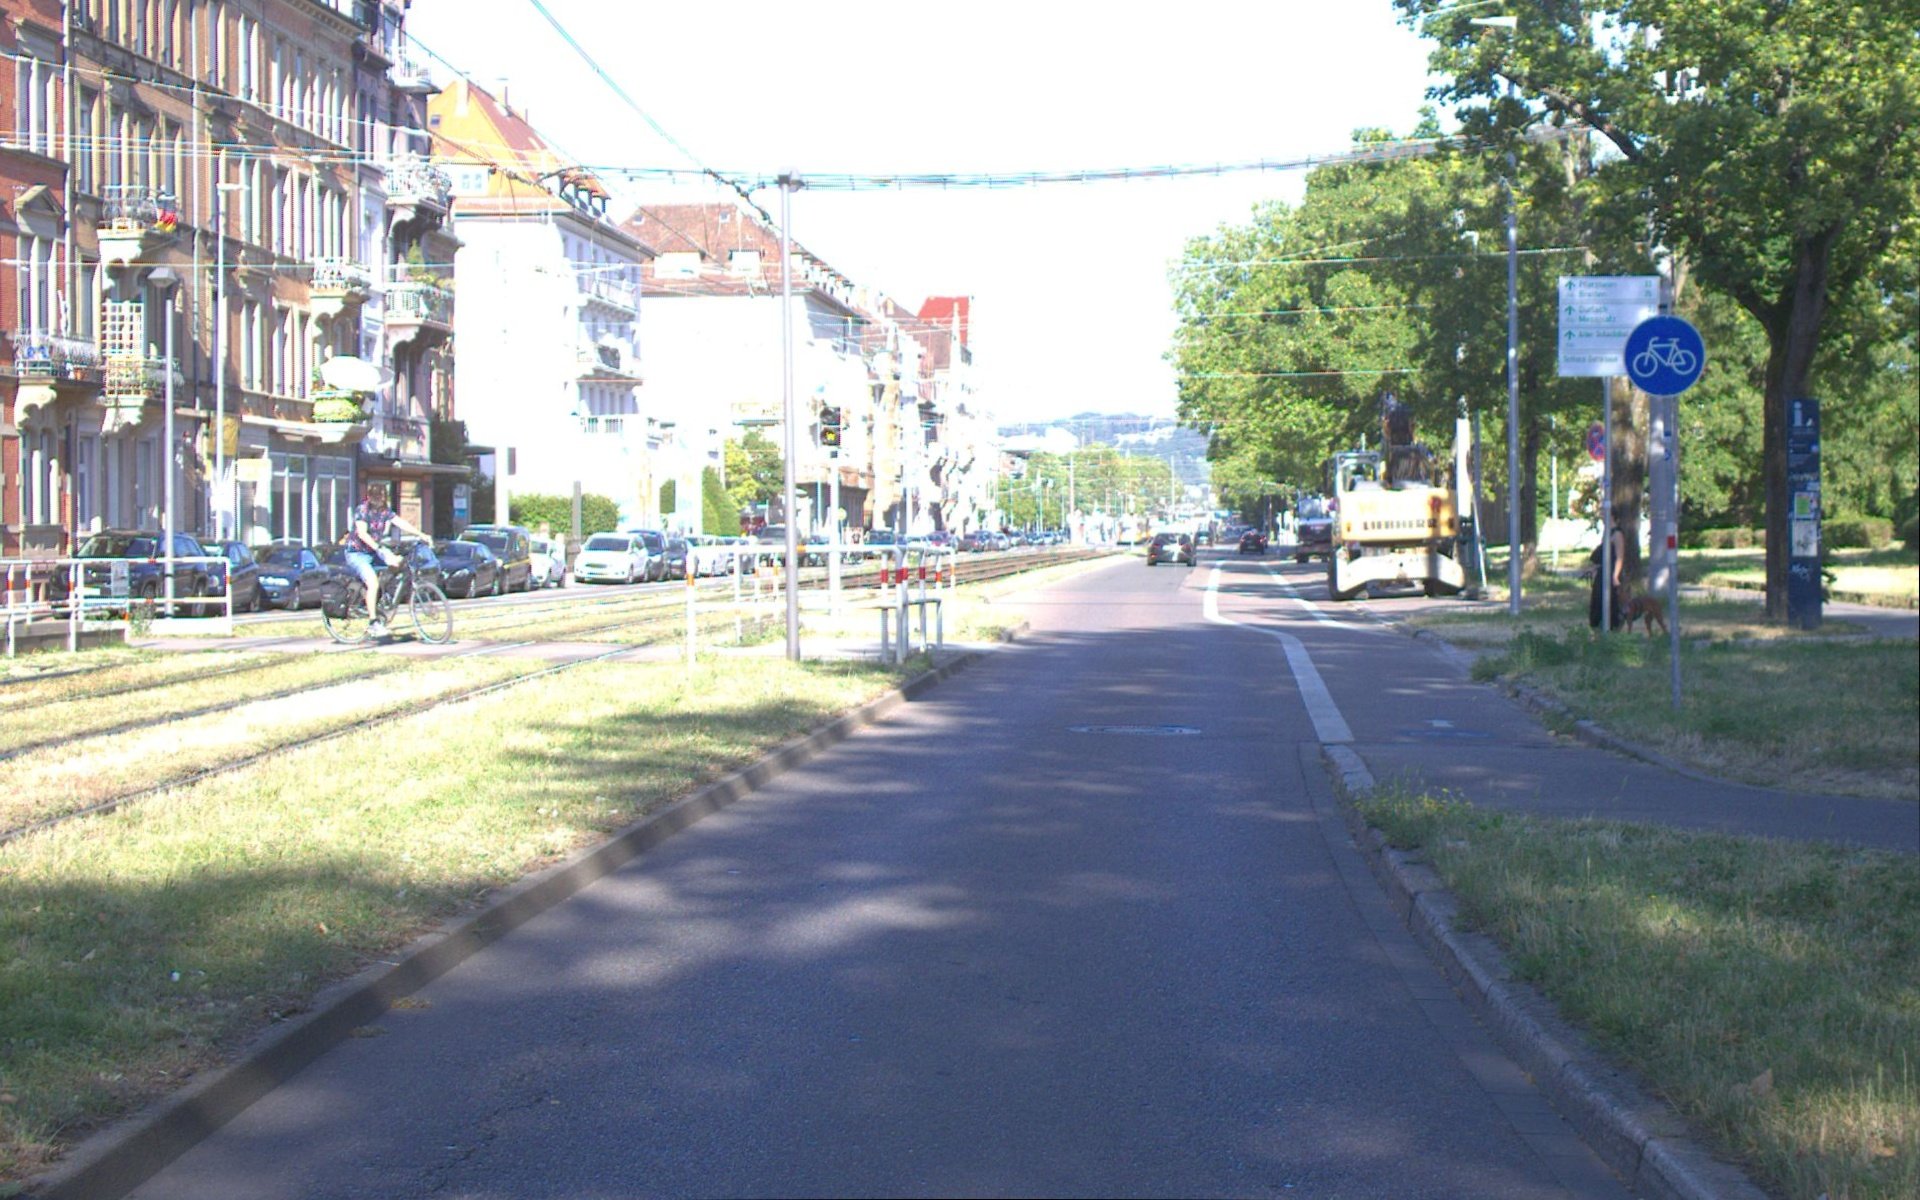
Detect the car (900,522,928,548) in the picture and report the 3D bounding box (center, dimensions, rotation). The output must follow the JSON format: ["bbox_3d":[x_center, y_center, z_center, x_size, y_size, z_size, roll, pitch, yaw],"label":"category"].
[{"bbox_3d":[-2.947,-4.185,220.072,1.527,1.555,3.223,2,2,4],"label":"car"}]

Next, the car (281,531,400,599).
[{"bbox_3d":[-14.284,-0.826,79.387,1.777,1.401,3.909,2,2,4],"label":"car"}]

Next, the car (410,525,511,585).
[{"bbox_3d":[-13.008,-1.183,89.641,1.777,1.401,3.979,2,2,4],"label":"car"}]

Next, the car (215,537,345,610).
[{"bbox_3d":[-14.712,-0.592,74.519,1.777,1.401,3.909,2,2,4],"label":"car"}]

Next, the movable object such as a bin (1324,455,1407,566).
[{"bbox_3d":[11.520,-2.541,97.959,1.968,3.003,4.796,-3,1,4],"label":"movable object such as a bin"}]

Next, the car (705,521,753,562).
[{"bbox_3d":[-9.437,-2.413,140.586,1.527,1.555,3.223,2,2,4],"label":"car"}]

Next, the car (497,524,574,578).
[{"bbox_3d":[-12.597,-1.475,102.149,1.562,1.452,3.665,2,2,4],"label":"car"}]

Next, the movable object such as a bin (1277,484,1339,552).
[{"bbox_3d":[15.599,-3.681,154.185,2.467,2.896,4.000,-3,1,4],"label":"movable object such as a bin"}]

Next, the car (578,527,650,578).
[{"bbox_3d":[-11.560,-1.591,114.955,1.741,1.555,3.767,2,2,4],"label":"car"}]

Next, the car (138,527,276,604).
[{"bbox_3d":[-15.197,-0.716,69.572,1.775,1.461,3.531,2,1,4],"label":"car"}]

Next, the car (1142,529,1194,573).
[{"bbox_3d":[8.508,-2.016,140.427,1.994,1.678,4.000,2,1,5],"label":"car"}]

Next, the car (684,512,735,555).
[{"bbox_3d":[-9.869,-2.634,135.649,1.527,1.555,3.223,2,2,4],"label":"car"}]

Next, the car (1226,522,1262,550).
[{"bbox_3d":[19.694,-4.445,238.509,1.993,1.853,4.001,2,1,-2],"label":"car"}]

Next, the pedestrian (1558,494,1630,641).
[{"bbox_3d":[7.280,-0.383,39.516,0.660,1.641,0.862,-3,1,5],"label":"pedestrian"}]

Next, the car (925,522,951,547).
[{"bbox_3d":[-1.555,-4.616,241.298,1.527,1.605,3.223,2,2,4],"label":"car"}]

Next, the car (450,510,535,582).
[{"bbox_3d":[-12.929,-1.517,95.269,1.562,1.847,3.900,2,2,4],"label":"car"}]

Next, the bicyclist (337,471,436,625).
[{"bbox_3d":[-6.456,-0.586,38.744,0.919,1.709,0.766,0,2,5],"label":"bicyclist"}]

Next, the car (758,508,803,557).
[{"bbox_3d":[-8.322,-3.153,159.693,1.658,2.132,3.525,2,2,4],"label":"car"}]

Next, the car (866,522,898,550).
[{"bbox_3d":[-4.603,-3.809,203.226,1.527,1.555,3.223,2,2,4],"label":"car"}]

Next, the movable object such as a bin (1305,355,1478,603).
[{"bbox_3d":[9.553,-2.643,77.036,3.087,5.071,8.891,-3,1,4],"label":"movable object such as a bin"}]

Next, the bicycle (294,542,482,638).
[{"bbox_3d":[-6.441,-0.117,38.763,1.953,1.037,0.766,0,2,5],"label":"bicycle"}]

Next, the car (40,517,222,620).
[{"bbox_3d":[-15.567,-0.632,64.789,2.015,1.748,4.558,2,2,4],"label":"car"}]

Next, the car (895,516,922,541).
[{"bbox_3d":[-3.427,-4.768,228.992,1.527,1.605,3.223,2,2,4],"label":"car"}]
